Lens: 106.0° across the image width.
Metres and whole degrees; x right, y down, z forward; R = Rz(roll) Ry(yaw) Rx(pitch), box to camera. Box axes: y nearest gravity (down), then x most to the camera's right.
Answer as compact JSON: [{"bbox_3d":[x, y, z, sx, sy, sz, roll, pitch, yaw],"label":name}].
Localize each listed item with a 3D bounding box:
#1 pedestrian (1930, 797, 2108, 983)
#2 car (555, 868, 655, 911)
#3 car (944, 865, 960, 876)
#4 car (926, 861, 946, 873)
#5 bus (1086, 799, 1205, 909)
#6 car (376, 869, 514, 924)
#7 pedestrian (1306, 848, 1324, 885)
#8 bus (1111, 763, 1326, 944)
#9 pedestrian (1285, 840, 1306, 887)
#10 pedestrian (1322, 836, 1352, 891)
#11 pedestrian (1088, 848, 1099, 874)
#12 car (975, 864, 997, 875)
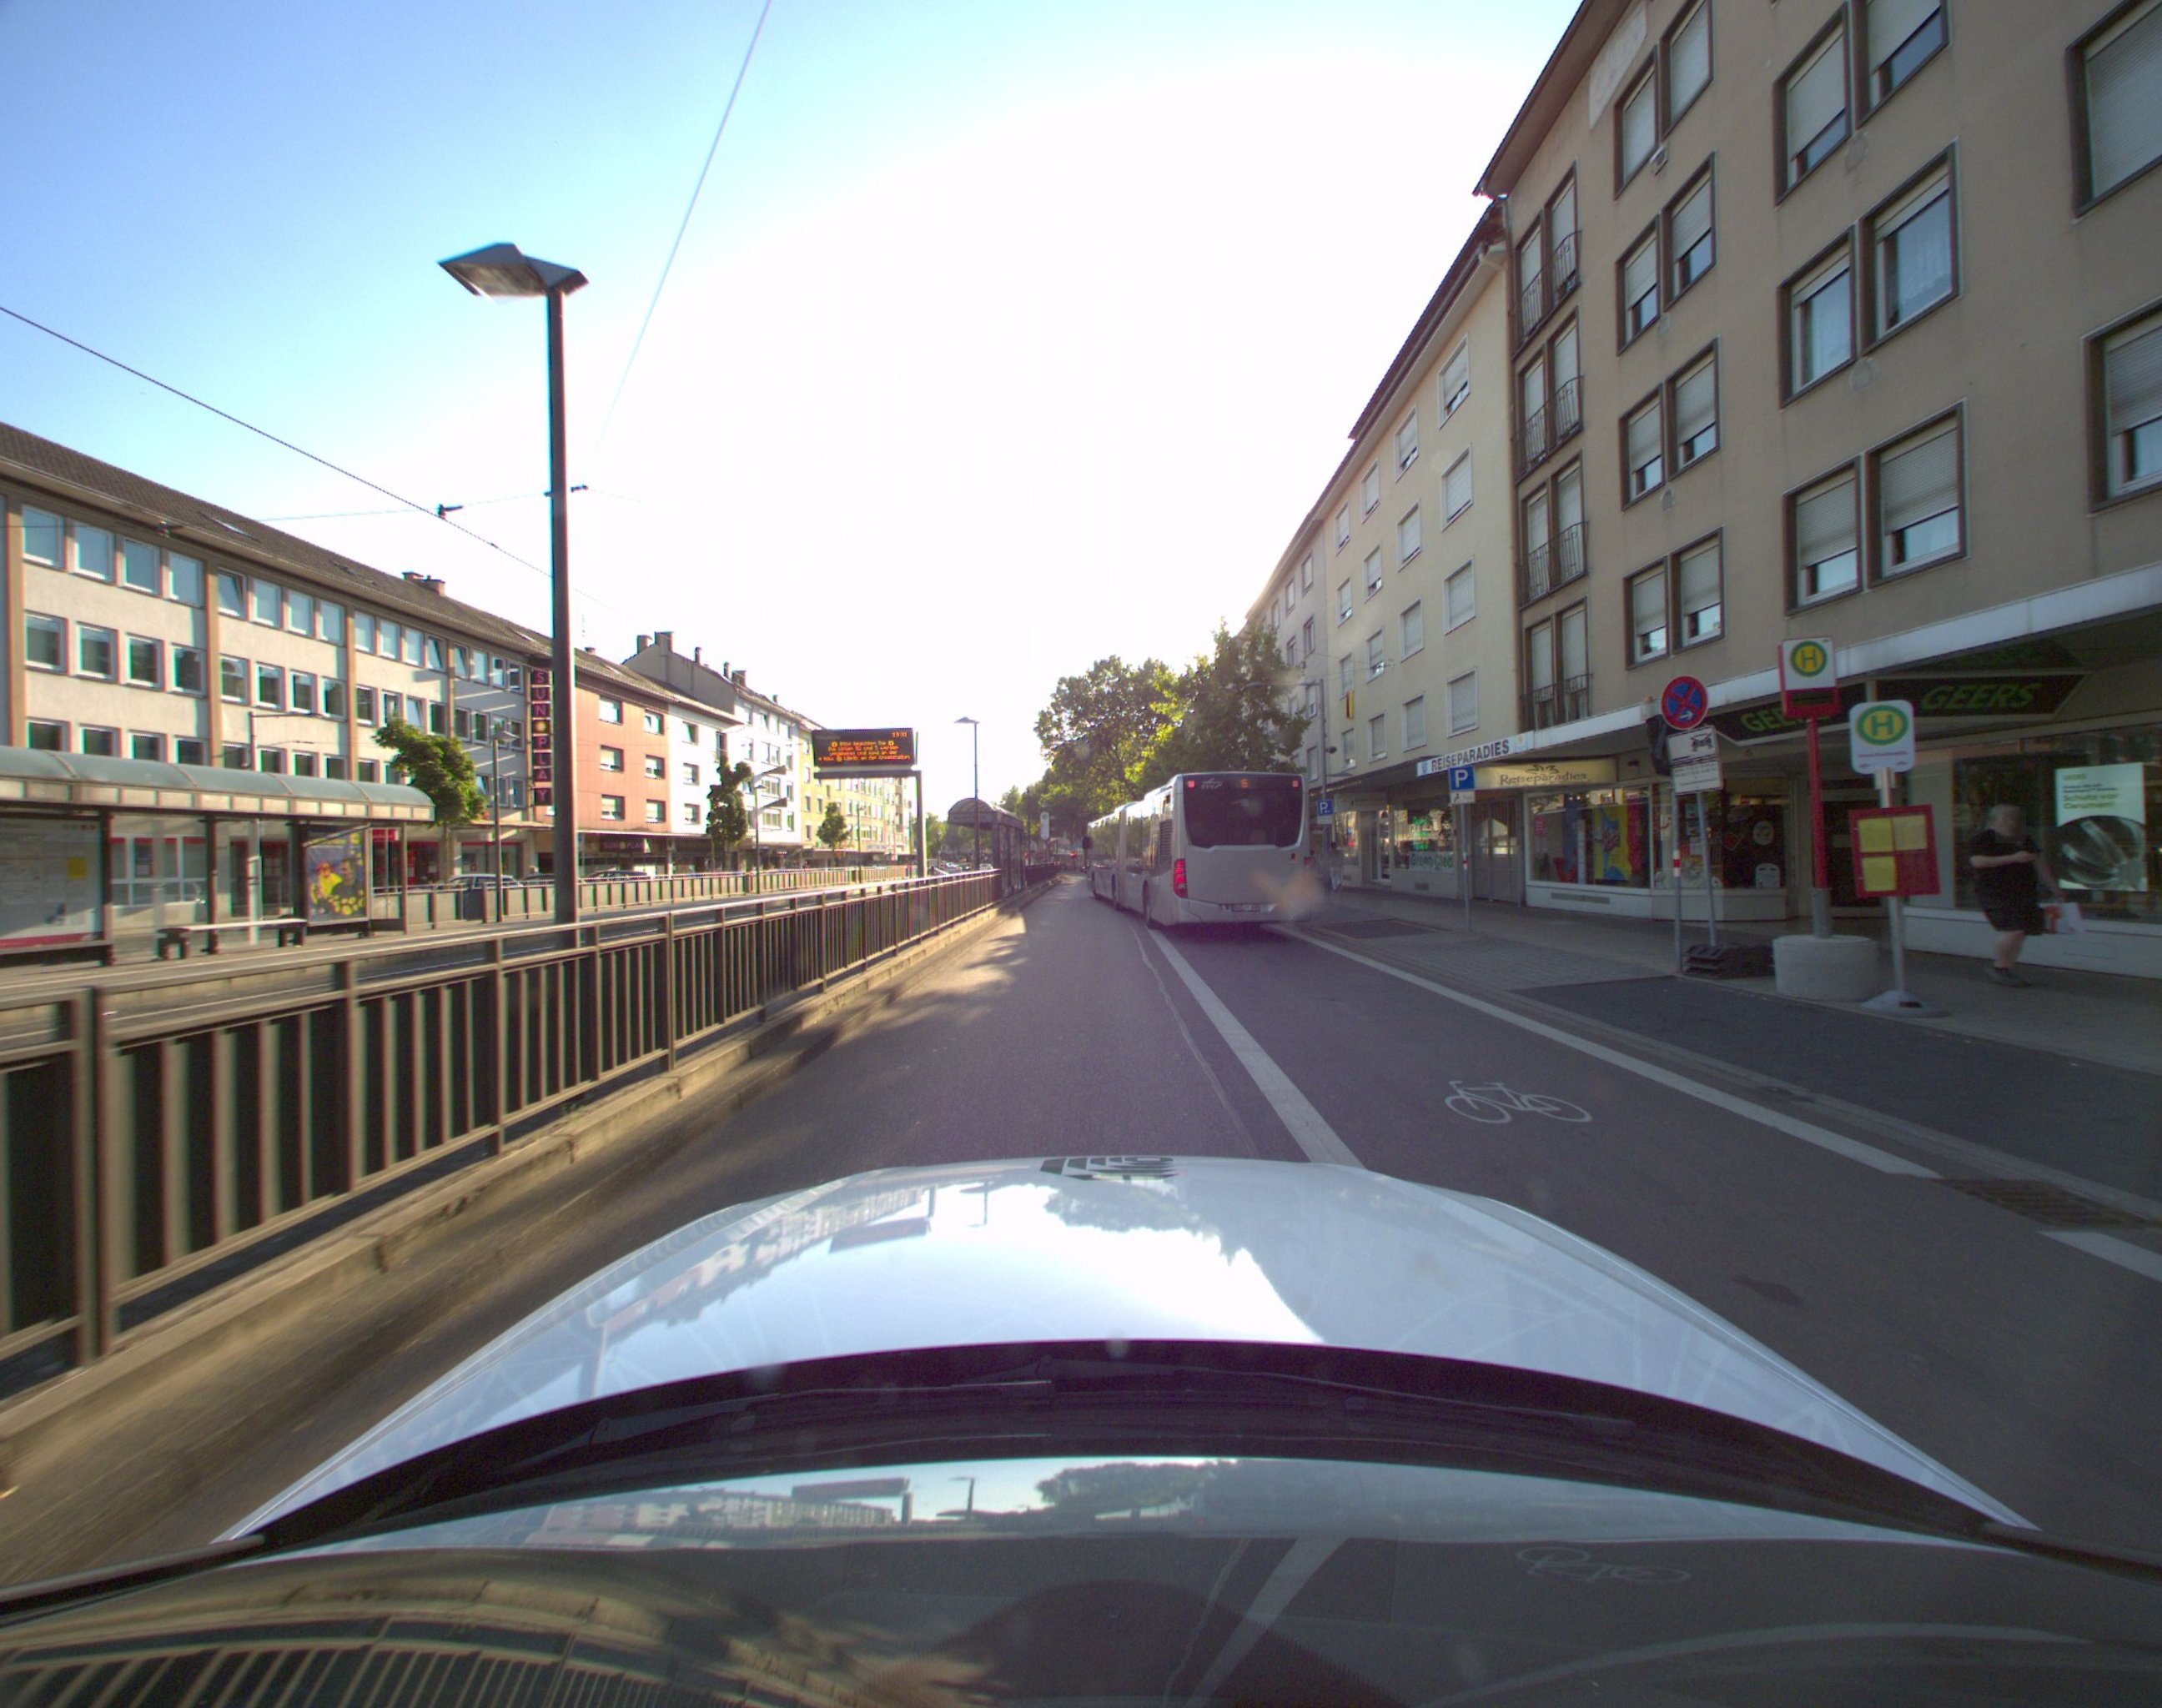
[{"bbox_3d":[8.738,0.320,7.624,0.721,1.632,0.766,-2,-1,1],"label":"pedestrian"},{"bbox_3d":[-21.444,1.564,36.762,3.531,1.679,1.749,-2,0,-45],"label":"car"},{"bbox_3d":[-22.427,2.844,141.334,1.986,1.651,4.001,-2,0,1],"label":"car"},{"bbox_3d":[-20.668,1.864,116.495,1.986,1.651,4.001,-2,0,1],"label":"car"},{"bbox_3d":[1.897,0.004,28.092,2.692,3.118,9.055,-1,0,-4],"label":"bus"},{"bbox_3d":[-22.422,1.457,28.793,1.748,1.679,3.533,-2,0,41],"label":"car"},{"bbox_3d":[9.006,0.493,31.353,0.473,1.394,0.612,-2,-1,1],"label":"pedestrian"},{"bbox_3d":[2.593,-0.013,18.893,2.692,3.118,9.366,-1,0,-4],"label":"bus"},{"bbox_3d":[8.332,0.377,31.655,0.562,1.795,0.766,-2,-1,1],"label":"pedestrian"},{"bbox_3d":[8.614,0.324,27.421,0.721,1.795,0.766,-2,-1,1],"label":"pedestrian"},{"bbox_3d":[1.276,0.727,80.918,0.884,2.546,1.166,-2,-1,8],"label":"pedestrian"},{"bbox_3d":[-17.888,2.966,153.713,3.980,2.013,1.960,-2,0,-5],"label":"car"}]
